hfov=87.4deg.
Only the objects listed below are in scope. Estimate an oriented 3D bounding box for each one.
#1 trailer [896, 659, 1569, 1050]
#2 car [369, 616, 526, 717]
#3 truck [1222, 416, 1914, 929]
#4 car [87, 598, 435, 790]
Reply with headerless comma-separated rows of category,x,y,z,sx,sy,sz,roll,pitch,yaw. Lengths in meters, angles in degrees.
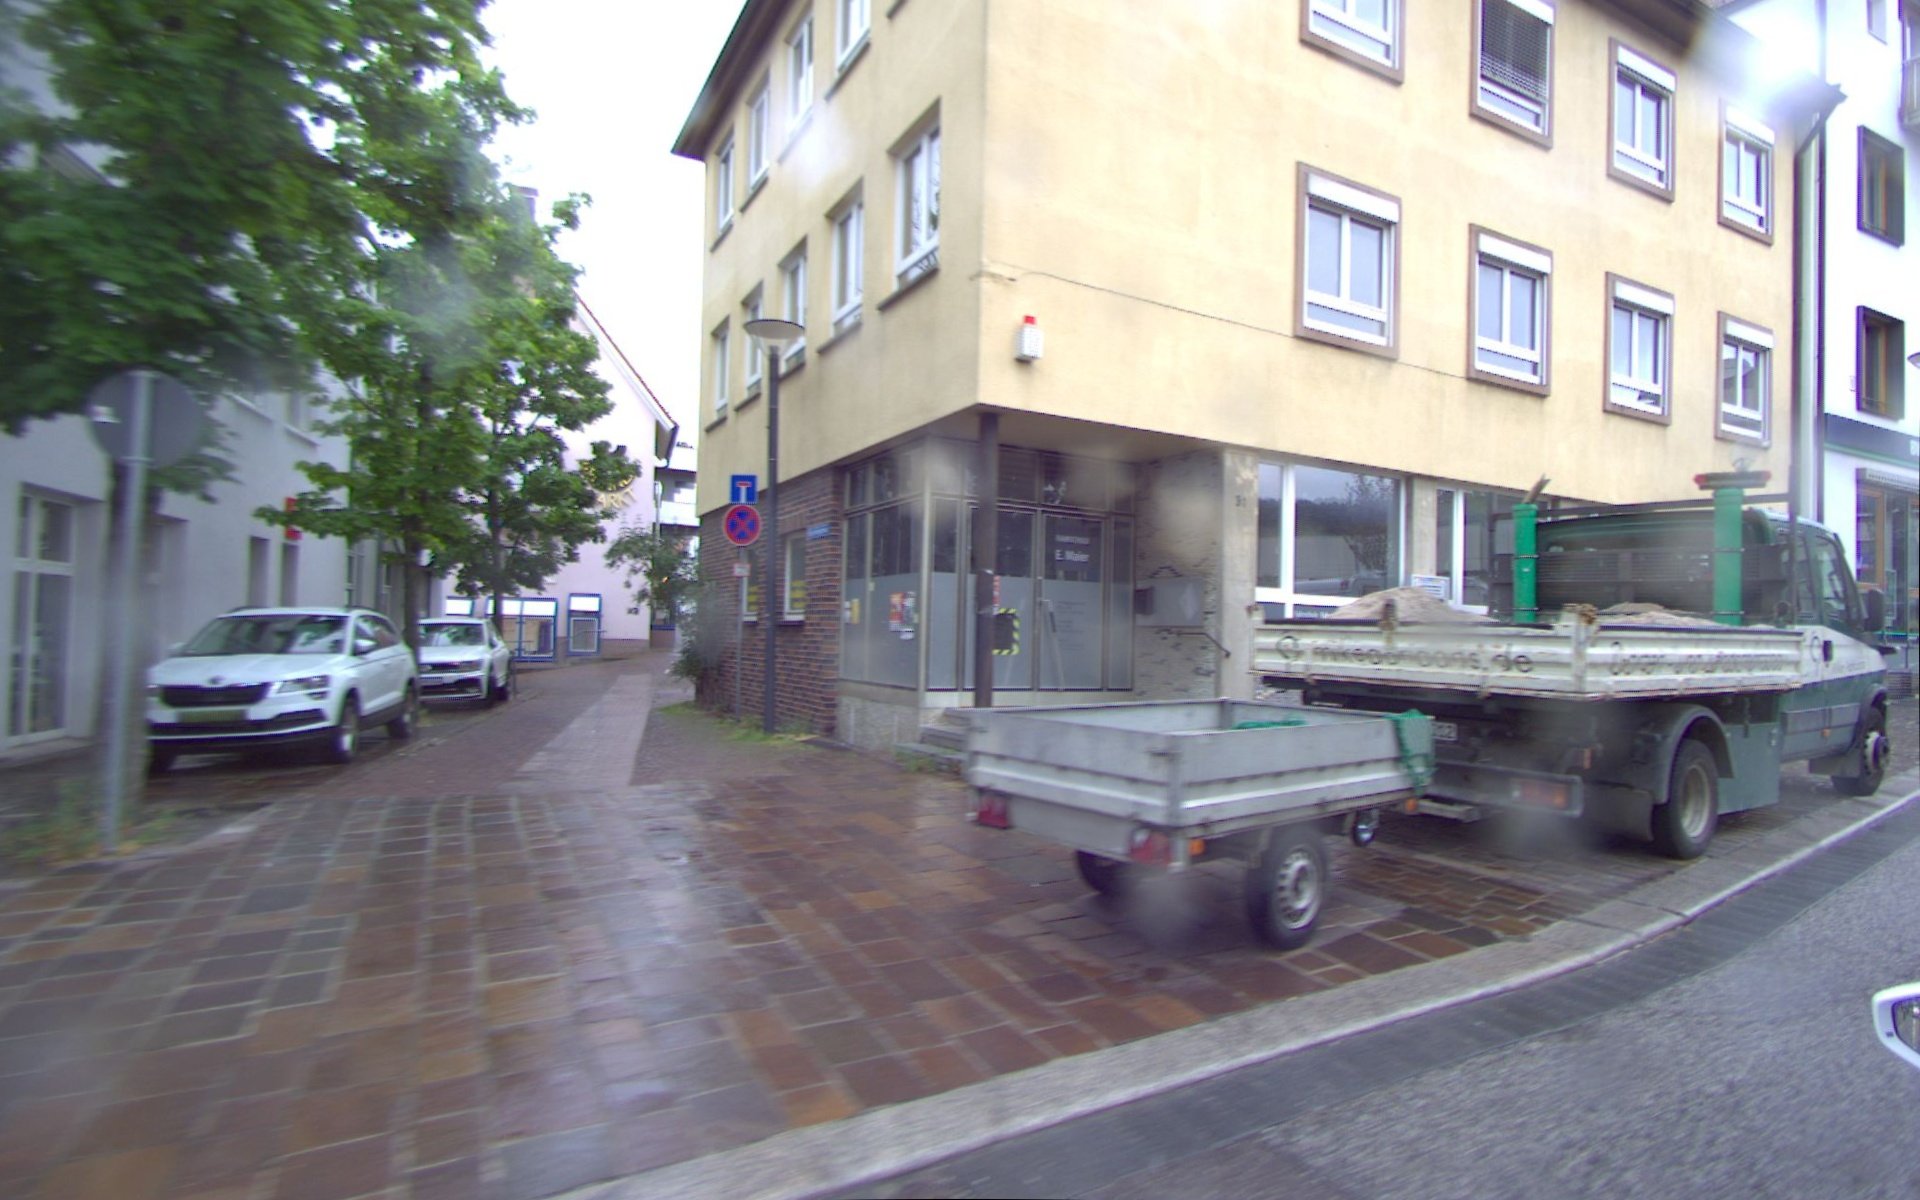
trailer,1.431,0.974,5.104,2.990,1.139,1.840,-1,0,-36
car,-9.324,1.188,18.637,1.790,1.639,4.268,1,-3,-16
truck,5.161,0.337,8.008,6.418,2.629,2.383,-1,0,-36
car,-7.145,0.906,10.837,1.826,1.639,4.108,1,-3,-16
